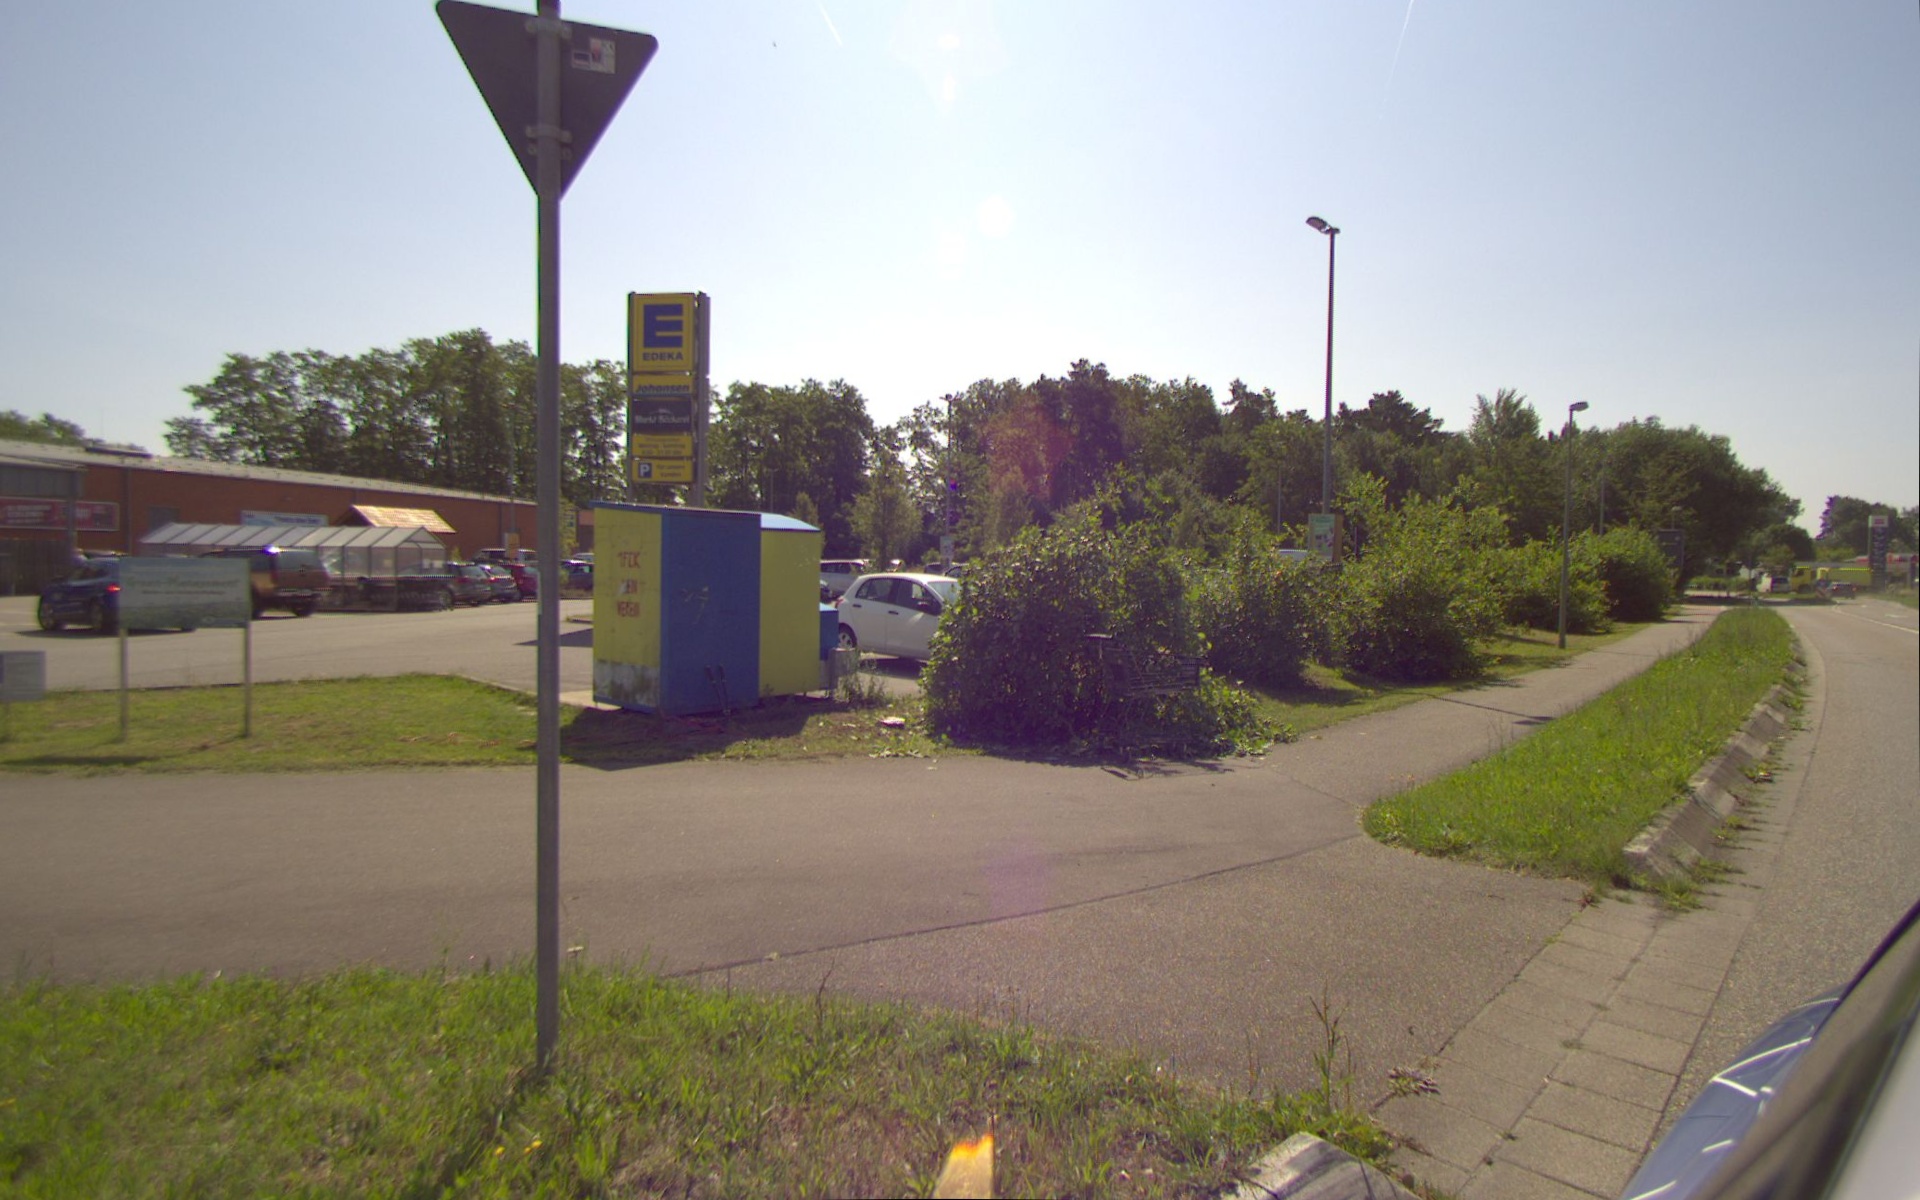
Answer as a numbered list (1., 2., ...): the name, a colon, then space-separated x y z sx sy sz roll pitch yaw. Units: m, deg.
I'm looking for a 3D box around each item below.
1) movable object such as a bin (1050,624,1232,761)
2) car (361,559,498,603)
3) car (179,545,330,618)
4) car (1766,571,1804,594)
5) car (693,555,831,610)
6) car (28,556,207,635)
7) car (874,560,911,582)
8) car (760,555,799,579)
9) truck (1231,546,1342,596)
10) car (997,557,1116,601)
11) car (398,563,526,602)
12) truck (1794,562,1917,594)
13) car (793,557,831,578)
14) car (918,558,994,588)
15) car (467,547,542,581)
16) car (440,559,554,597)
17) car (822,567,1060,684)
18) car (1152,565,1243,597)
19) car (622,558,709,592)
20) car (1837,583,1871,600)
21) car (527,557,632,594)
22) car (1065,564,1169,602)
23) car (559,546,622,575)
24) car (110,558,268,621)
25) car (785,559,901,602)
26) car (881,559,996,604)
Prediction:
1. movable object such as a bin: 1.683 0.821 9.490 1.425 1.134 0.872 0 1 -23
2. car: -18.541 -0.680 35.432 3.939 1.438 1.975 1 1 13
3. car: -19.930 -0.538 28.604 3.448 1.953 1.867 1 1 20
4. car: 91.130 -1.985 111.856 1.897 2.430 4.872 2 2 23
5. car: -6.158 -0.558 31.658 3.929 1.608 1.660 1 1 5
6. car: -18.784 -0.146 22.518 4.391 1.591 1.698 2 1 31
7. car: -5.584 -2.413 84.515 2.040 1.732 3.985 1 1 13
8. car: -15.602 -2.898 87.778 1.914 1.998 3.986 2 2 13
9. truck: 18.490 -1.670 57.465 5.589 2.637 2.173 3 3 38
10. car: 3.682 -0.819 38.773 4.142 1.593 1.974 2 2 37
11. car: -18.720 -0.673 38.111 3.936 1.393 1.994 1 1 11
12. truck: 104.337 -2.645 118.249 10.283 3.435 3.834 3 3 37
13. car: -12.672 -2.792 87.044 1.914 1.732 3.986 2 2 13
14. car: -0.235 -1.550 58.069 3.946 1.604 1.960 2 2 17
15. car: -28.518 -2.253 63.428 3.940 2.038 1.992 2 2 14
16. car: -18.527 -0.879 40.533 3.938 1.415 1.710 1 1 12
17. car: -0.372 0.329 16.523 3.592 1.581 1.787 4 3 41
18. car: 11.596 -0.951 49.457 3.940 1.471 1.885 2 2 29
19. car: -15.344 -1.323 52.744 3.947 1.682 1.989 2 1 18
20. car: 79.453 -0.786 89.970 1.693 1.406 4.241 2 2 34
21. car: -16.886 -1.094 44.936 3.936 1.504 1.963 1 1 11
22. car: 6.592 -0.741 42.590 3.970 1.445 1.729 2 2 32
23. car: -27.248 -2.913 74.691 3.944 2.039 1.990 1 1 16
24. car: -20.130 -0.292 26.446 3.448 1.516 1.705 1 1 20
25. car: -4.898 -0.809 42.610 4.490 1.723 1.993 -1 1 13
26. car: -0.799 -0.667 35.681 3.985 1.460 1.626 3 2 42
